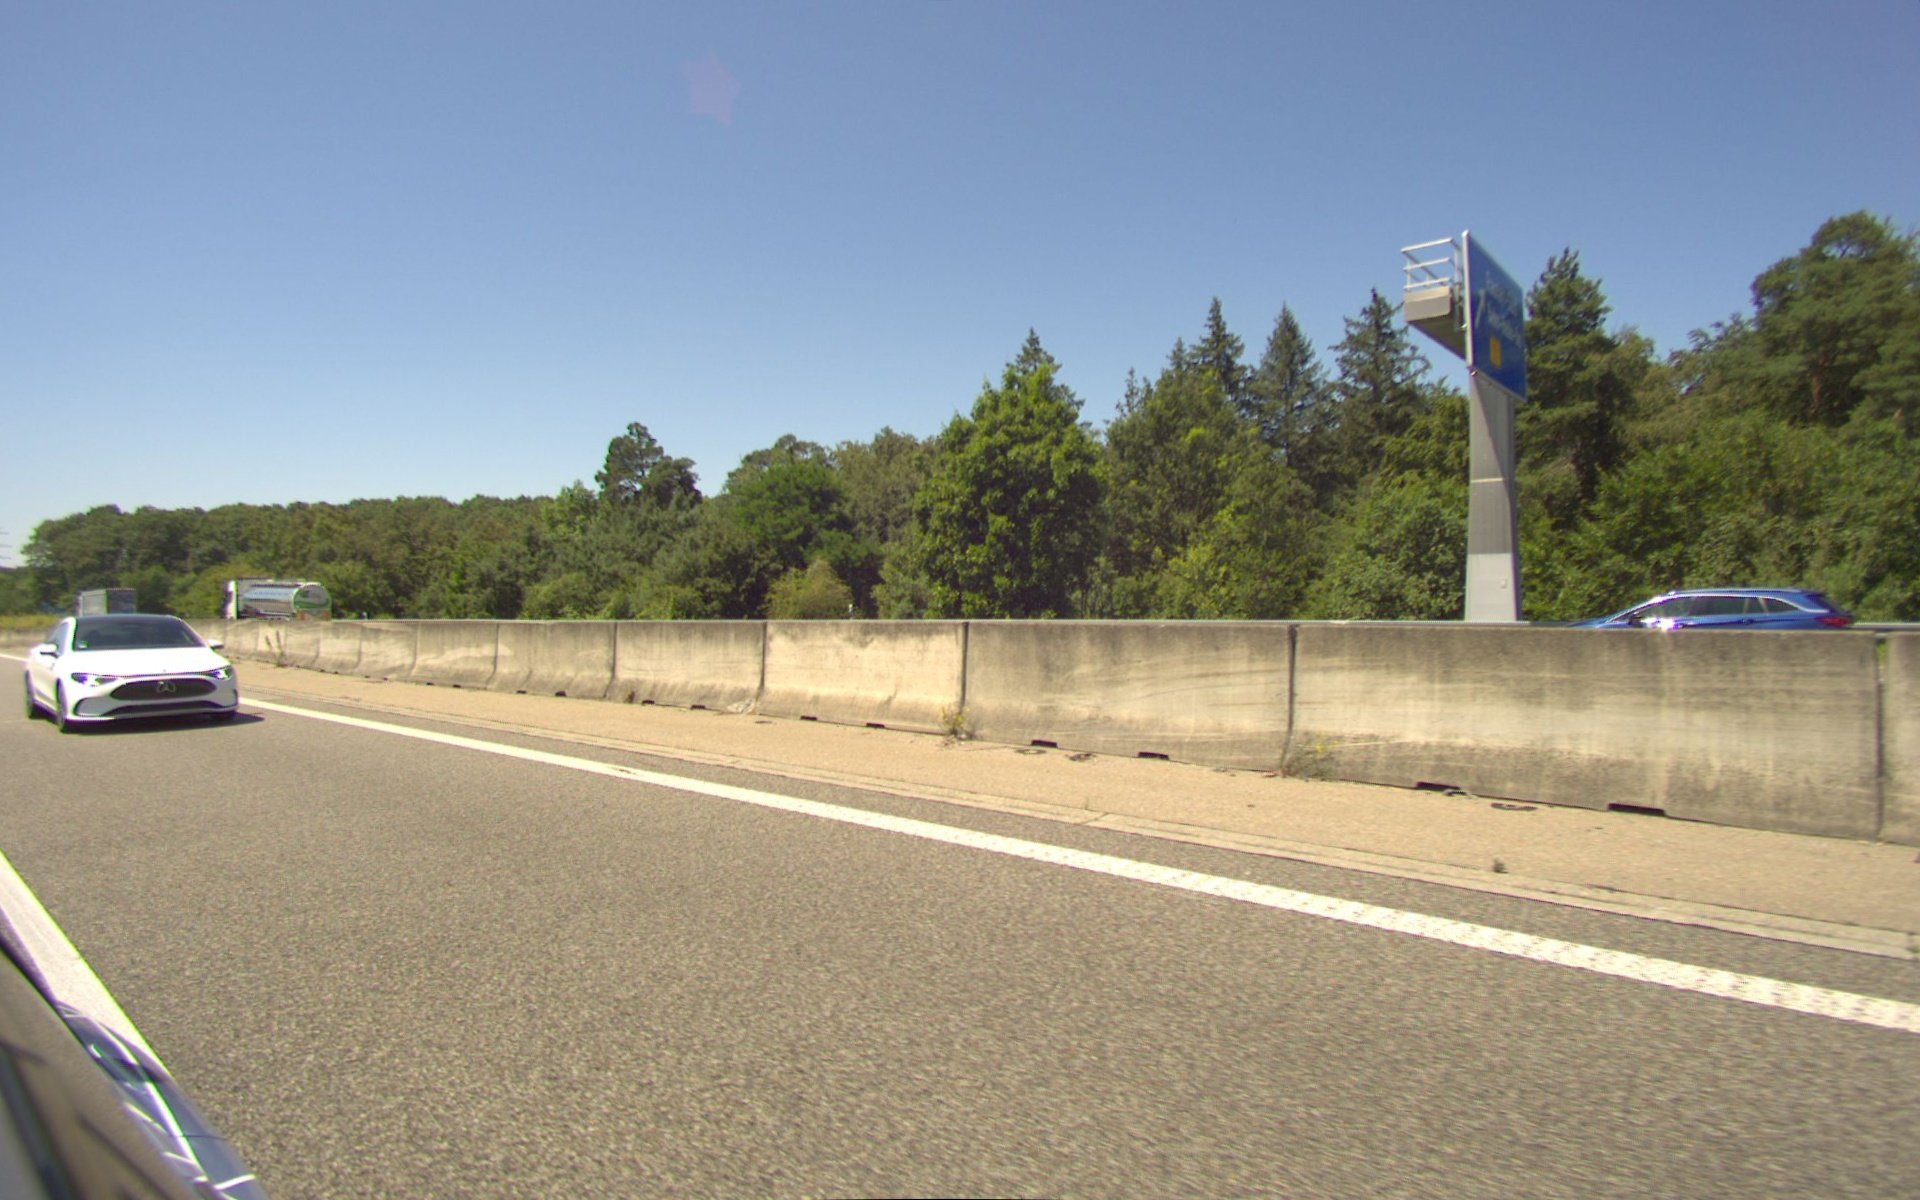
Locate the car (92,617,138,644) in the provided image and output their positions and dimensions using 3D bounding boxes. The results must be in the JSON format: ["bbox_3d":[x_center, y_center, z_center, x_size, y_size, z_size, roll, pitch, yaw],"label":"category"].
[{"bbox_3d":[-66.422,2.352,79.509,4.572,2.029,1.973,-1,1,40],"label":"car"}]

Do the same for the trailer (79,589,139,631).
[{"bbox_3d":[-88.214,1.091,104.768,11.769,4.107,2.953,-1,0,41],"label":"trailer"}]

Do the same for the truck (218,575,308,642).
[{"bbox_3d":[-45.980,0.541,66.680,7.724,4.077,2.779,-1,3,40],"label":"truck"}]

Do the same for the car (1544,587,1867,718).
[{"bbox_3d":[13.134,0.833,17.989,4.428,2.029,1.972,-1,0,43],"label":"car"}]

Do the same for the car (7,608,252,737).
[{"bbox_3d":[-11.474,0.872,13.836,5.105,1.459,1.749,-1,-1,41],"label":"car"}]

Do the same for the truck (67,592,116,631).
[{"bbox_3d":[-95.213,1.305,110.923,8.189,4.107,2.953,-1,0,41],"label":"truck"}]

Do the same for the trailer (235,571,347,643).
[{"bbox_3d":[-41.978,0.477,63.330,10.422,4.077,2.780,-1,3,40],"label":"trailer"}]
